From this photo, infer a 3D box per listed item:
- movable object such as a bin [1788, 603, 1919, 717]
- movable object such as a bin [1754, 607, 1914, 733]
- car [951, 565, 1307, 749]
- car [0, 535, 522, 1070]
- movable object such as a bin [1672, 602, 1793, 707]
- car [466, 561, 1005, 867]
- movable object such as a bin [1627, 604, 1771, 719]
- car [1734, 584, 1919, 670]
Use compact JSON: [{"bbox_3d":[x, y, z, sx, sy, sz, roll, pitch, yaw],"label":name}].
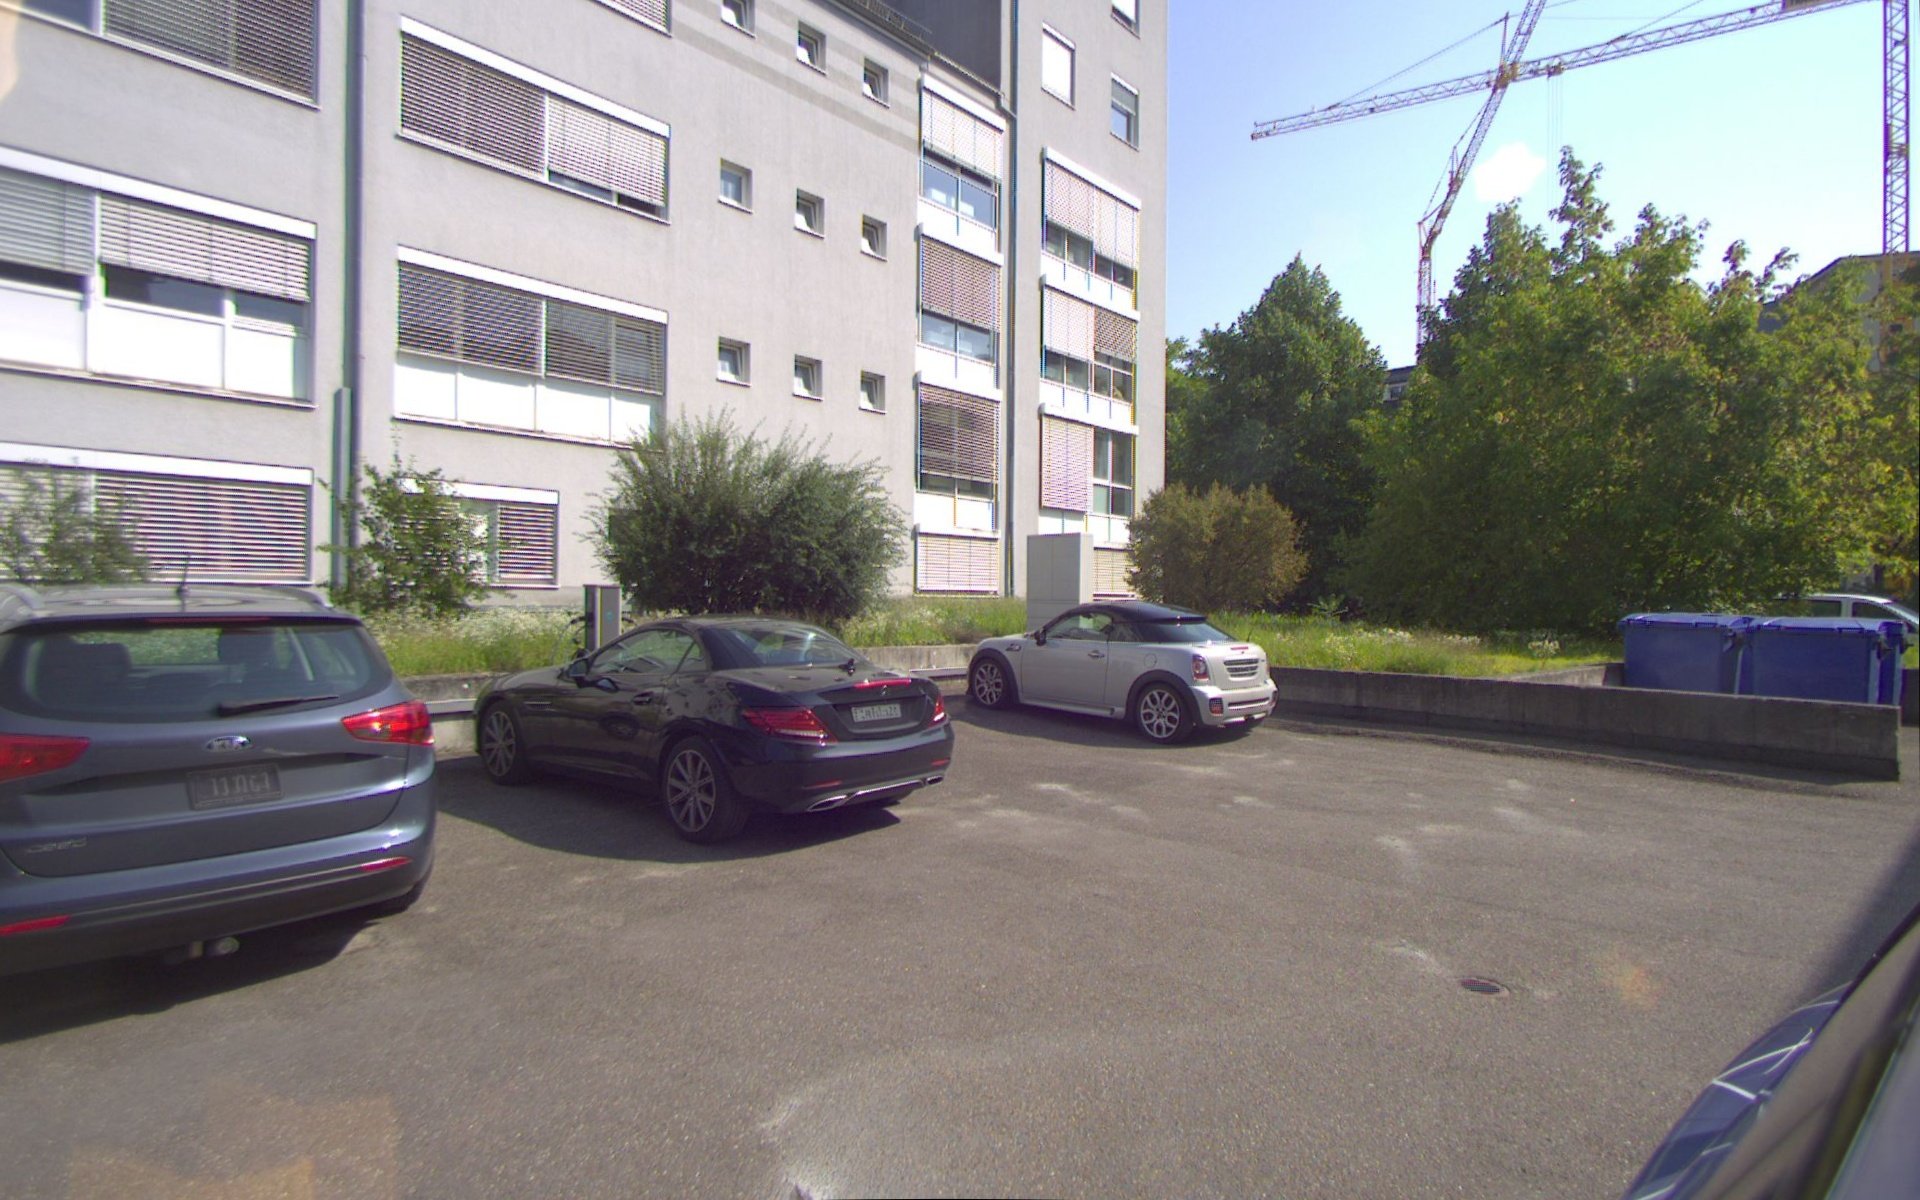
[{"bbox_3d":[11.582,0.725,13.034,1.082,1.357,1.310,0,0,-44],"label":"movable object such as a bin"},{"bbox_3d":[10.277,0.769,11.909,1.174,1.357,1.302,0,0,-42],"label":"movable object such as a bin"},{"bbox_3d":[1.795,0.493,11.532,1.772,1.563,3.625,0,5,-43],"label":"car"},{"bbox_3d":[-3.830,0.598,4.867,3.862,1.609,1.850,0,0,44],"label":"car"},{"bbox_3d":[10.717,0.720,14.050,1.226,1.357,1.060,0,0,44],"label":"movable object such as a bin"},{"bbox_3d":[-1.739,0.587,7.264,3.793,1.609,1.870,0,0,39],"label":"car"},{"bbox_3d":[9.442,0.740,12.944,1.096,1.357,1.238,0,0,-38],"label":"movable object such as a bin"},{"bbox_3d":[21.893,0.608,24.258,2.007,1.945,4.968,-1,0,-39],"label":"car"}]
